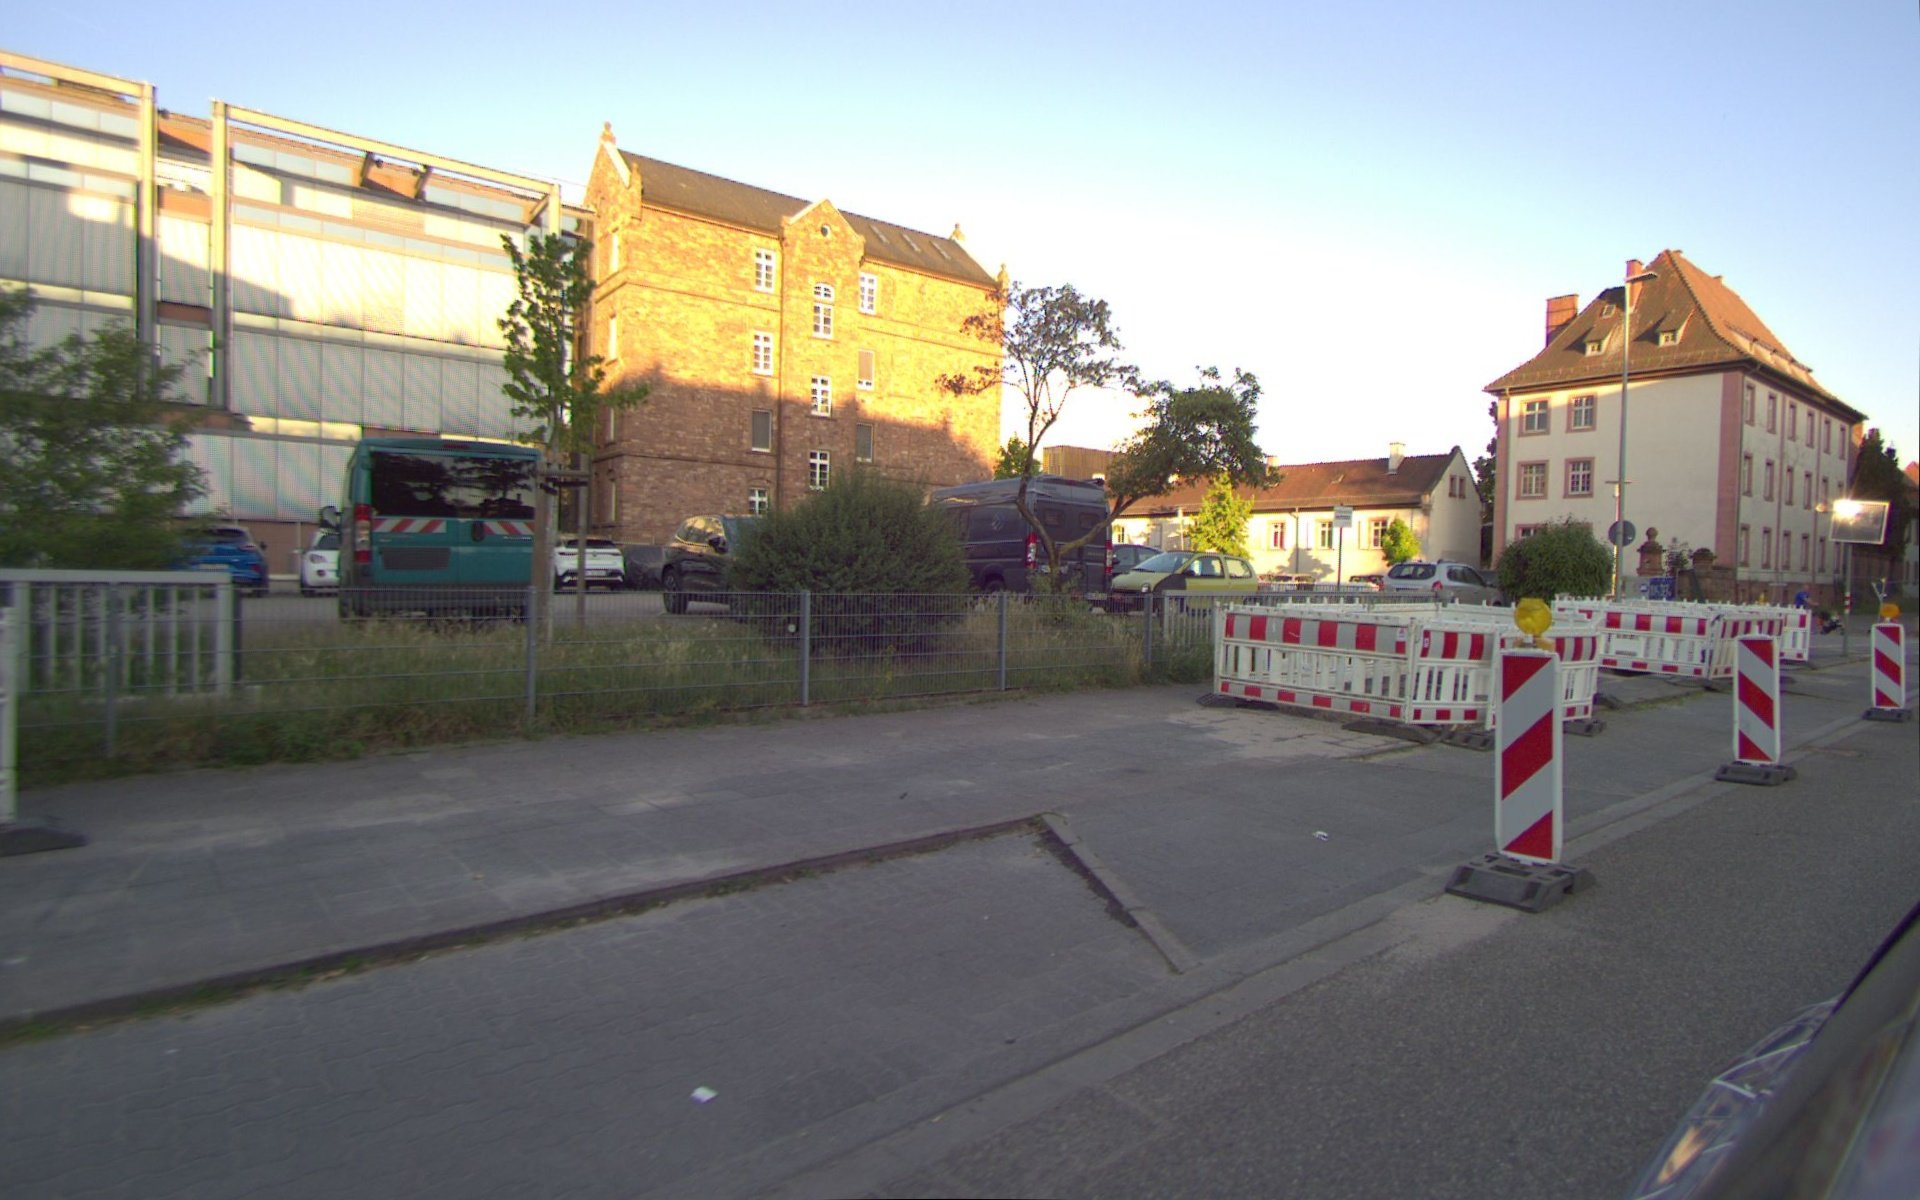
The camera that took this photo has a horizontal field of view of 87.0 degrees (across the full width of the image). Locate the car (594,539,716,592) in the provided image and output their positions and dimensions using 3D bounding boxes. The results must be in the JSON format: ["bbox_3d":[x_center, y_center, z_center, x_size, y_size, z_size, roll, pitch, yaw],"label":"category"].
[{"bbox_3d":[-8.495,-0.990,27.952,1.909,1.321,4.365,0,3,-36],"label":"car"}]

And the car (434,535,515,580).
[{"bbox_3d":[-17.292,-1.537,35.923,1.867,1.450,4.180,0,3,-36],"label":"car"}]

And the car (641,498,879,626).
[{"bbox_3d":[-3.315,-0.633,16.131,1.964,1.748,4.299,0,3,-38],"label":"car"}]

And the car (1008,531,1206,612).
[{"bbox_3d":[3.359,-0.632,22.685,4.511,1.658,1.576,0,3,-35],"label":"car"}]

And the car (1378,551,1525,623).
[{"bbox_3d":[12.804,-0.353,26.255,4.204,1.729,1.702,0,3,-38],"label":"car"}]

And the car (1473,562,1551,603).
[{"bbox_3d":[27.003,-0.835,49.463,3.929,1.881,1.998,0,2,-40],"label":"car"}]

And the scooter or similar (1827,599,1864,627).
[{"bbox_3d":[29.674,0.431,33.909,0.506,0.901,0.806,1,2,-36],"label":"scooter or similar"}]

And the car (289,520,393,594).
[{"bbox_3d":[-14.180,-0.981,23.106,1.743,1.535,3.217,0,2,-37],"label":"car"}]

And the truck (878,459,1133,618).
[{"bbox_3d":[0.711,-1.151,19.578,2.297,2.649,4.974,0,3,-36],"label":"truck"}]

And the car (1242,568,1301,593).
[{"bbox_3d":[19.142,-1.188,62.093,3.686,1.463,1.685,0,2,-40],"label":"car"}]

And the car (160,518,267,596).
[{"bbox_3d":[-16.101,-0.925,21.868,1.743,1.535,3.217,0,2,-37],"label":"car"}]

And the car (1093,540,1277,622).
[{"bbox_3d":[4.596,-0.393,20.532,3.574,1.522,1.638,0,3,-35],"label":"car"}]

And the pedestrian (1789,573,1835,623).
[{"bbox_3d":[29.202,-0.076,34.678,0.738,1.662,1.015,1,2,-36],"label":"pedestrian"}]

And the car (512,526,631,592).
[{"bbox_3d":[-10.197,-1.092,26.357,1.807,1.557,4.365,0,3,-36],"label":"car"}]

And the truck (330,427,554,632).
[{"bbox_3d":[-6.750,-0.825,12.904,2.071,2.116,4.516,0,2,-33],"label":"truck"}]

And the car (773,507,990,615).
[{"bbox_3d":[-1.515,-0.716,18.117,1.964,1.713,3.998,0,3,-38],"label":"car"}]

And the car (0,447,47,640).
[{"bbox_3d":[-10.795,-0.600,10.200,1.963,1.848,4.226,0,2,-37],"label":"car"}]
